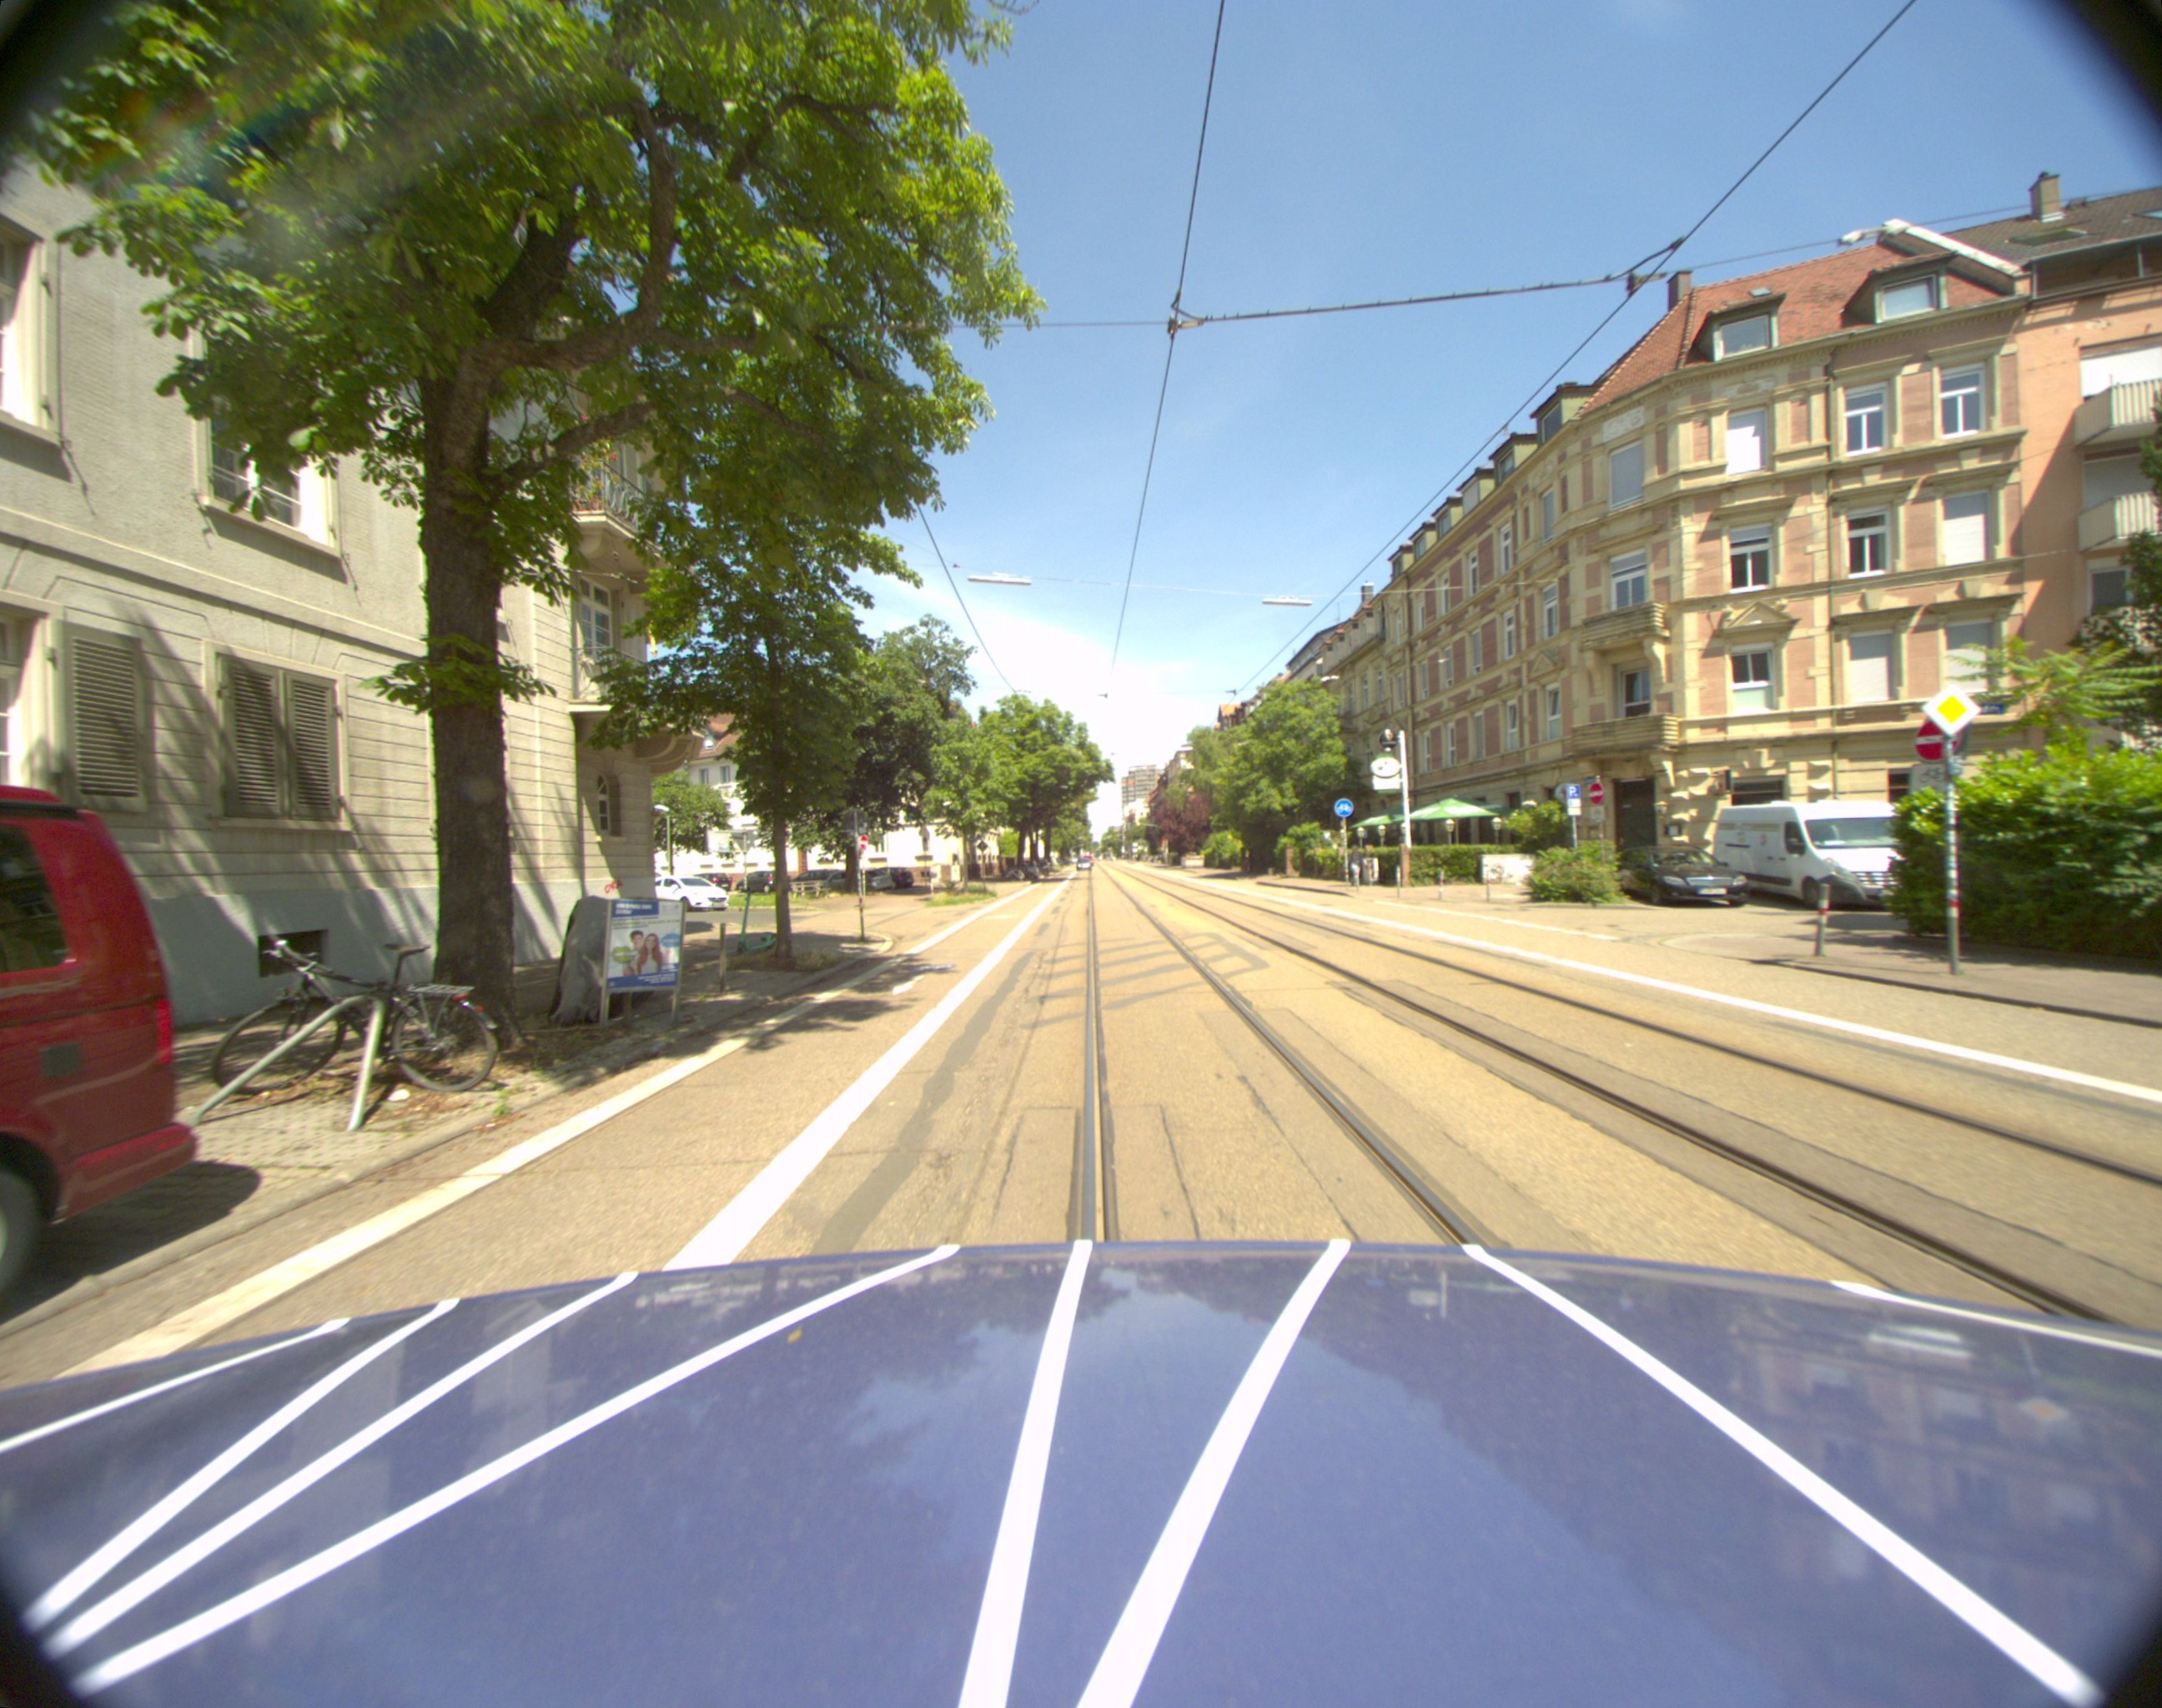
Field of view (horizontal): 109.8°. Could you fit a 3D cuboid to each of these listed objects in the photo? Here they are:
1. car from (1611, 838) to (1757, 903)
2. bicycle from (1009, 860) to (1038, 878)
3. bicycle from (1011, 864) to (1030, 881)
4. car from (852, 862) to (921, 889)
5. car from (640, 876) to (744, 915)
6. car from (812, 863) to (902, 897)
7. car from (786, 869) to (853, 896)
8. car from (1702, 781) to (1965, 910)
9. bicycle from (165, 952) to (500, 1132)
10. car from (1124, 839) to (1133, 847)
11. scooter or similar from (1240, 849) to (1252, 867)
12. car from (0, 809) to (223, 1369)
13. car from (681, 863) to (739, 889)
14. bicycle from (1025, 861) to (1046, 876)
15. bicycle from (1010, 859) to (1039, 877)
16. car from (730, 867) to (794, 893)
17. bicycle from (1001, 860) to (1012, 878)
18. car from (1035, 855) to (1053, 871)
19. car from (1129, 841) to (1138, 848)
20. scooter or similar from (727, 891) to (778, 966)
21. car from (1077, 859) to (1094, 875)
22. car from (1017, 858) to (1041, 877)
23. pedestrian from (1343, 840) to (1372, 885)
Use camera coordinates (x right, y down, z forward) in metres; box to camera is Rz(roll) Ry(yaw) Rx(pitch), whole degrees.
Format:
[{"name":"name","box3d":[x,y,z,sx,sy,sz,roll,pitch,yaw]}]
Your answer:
[{"name":"car","box3d":[15.177,0.357,19.370,1.592,1.430,3.761,-2,1,16]},{"name":"bicycle","box3d":[-4.163,1.078,54.931,2.037,1.194,0.445,-3,2,11]},{"name":"bicycle","box3d":[-4.014,1.232,50.261,1.169,1.057,0.280,-3,2,4]},{"name":"car","box3d":[-12.134,1.350,47.477,3.874,1.439,1.648,-2,2,23]},{"name":"car","box3d":[-15.850,1.670,30.920,3.989,1.411,1.857,-2,0,31]},{"name":"car","box3d":[-12.207,1.407,41.307,4.665,1.506,1.879,-4,0,29]},{"name":"car","box3d":[-17.227,1.897,50.051,3.990,1.495,1.823,-2,4,28]},{"name":"car","box3d":[17.777,-0.214,18.515,2.121,2.575,6.197,-2,1,20]},{"name":"bicycle","box3d":[-4.919,1.219,5.052,1.701,1.016,0.364,-2,1,-5]},{"name":"car","box3d":[11.104,-2.674,177.869,1.998,1.717,3.871,-3,1,1]},{"name":"scooter or similar","box3d":[13.183,0.335,60.743,0.617,1.391,0.694,-3,1,-9]},{"name":"car","box3d":[-4.871,0.857,0.927,1.864,2.001,4.977,-3,-1,1]},{"name":"car","box3d":[-27.007,1.590,55.302,3.990,1.720,1.655,-2,2,28]},{"name":"bicycle","box3d":[-3.859,1.206,64.360,1.623,1.193,0.305,-3,1,2]},{"name":"bicycle","box3d":[-4.107,1.050,55.437,2.037,1.194,0.445,-3,2,11]},{"name":"car","box3d":[-22.158,1.785,52.711,3.990,1.571,1.872,-2,2,28]},{"name":"bicycle","box3d":[-4.925,0.986,50.413,0.284,1.193,1.625,-4,2,-19]},{"name":"car","box3d":[-3.798,0.896,78.062,1.539,1.535,3.999,-3,1,1]},{"name":"car","box3d":[11.010,-1.947,158.755,1.493,1.372,3.630,-3,1,1]},{"name":"scooter or similar","box3d":[-5.637,1.253,13.089,0.296,1.154,1.252,-2,0,0]},{"name":"car","box3d":[0.515,1.437,87.506,1.893,1.561,4.036,-3,1,1]},{"name":"car","box3d":[-4.074,1.032,59.897,1.596,1.444,3.632,-1,0,1]},{"name":"pedestrian","box3d":[10.374,0.315,28.573,0.742,1.632,0.939,-2,1,4]}]
